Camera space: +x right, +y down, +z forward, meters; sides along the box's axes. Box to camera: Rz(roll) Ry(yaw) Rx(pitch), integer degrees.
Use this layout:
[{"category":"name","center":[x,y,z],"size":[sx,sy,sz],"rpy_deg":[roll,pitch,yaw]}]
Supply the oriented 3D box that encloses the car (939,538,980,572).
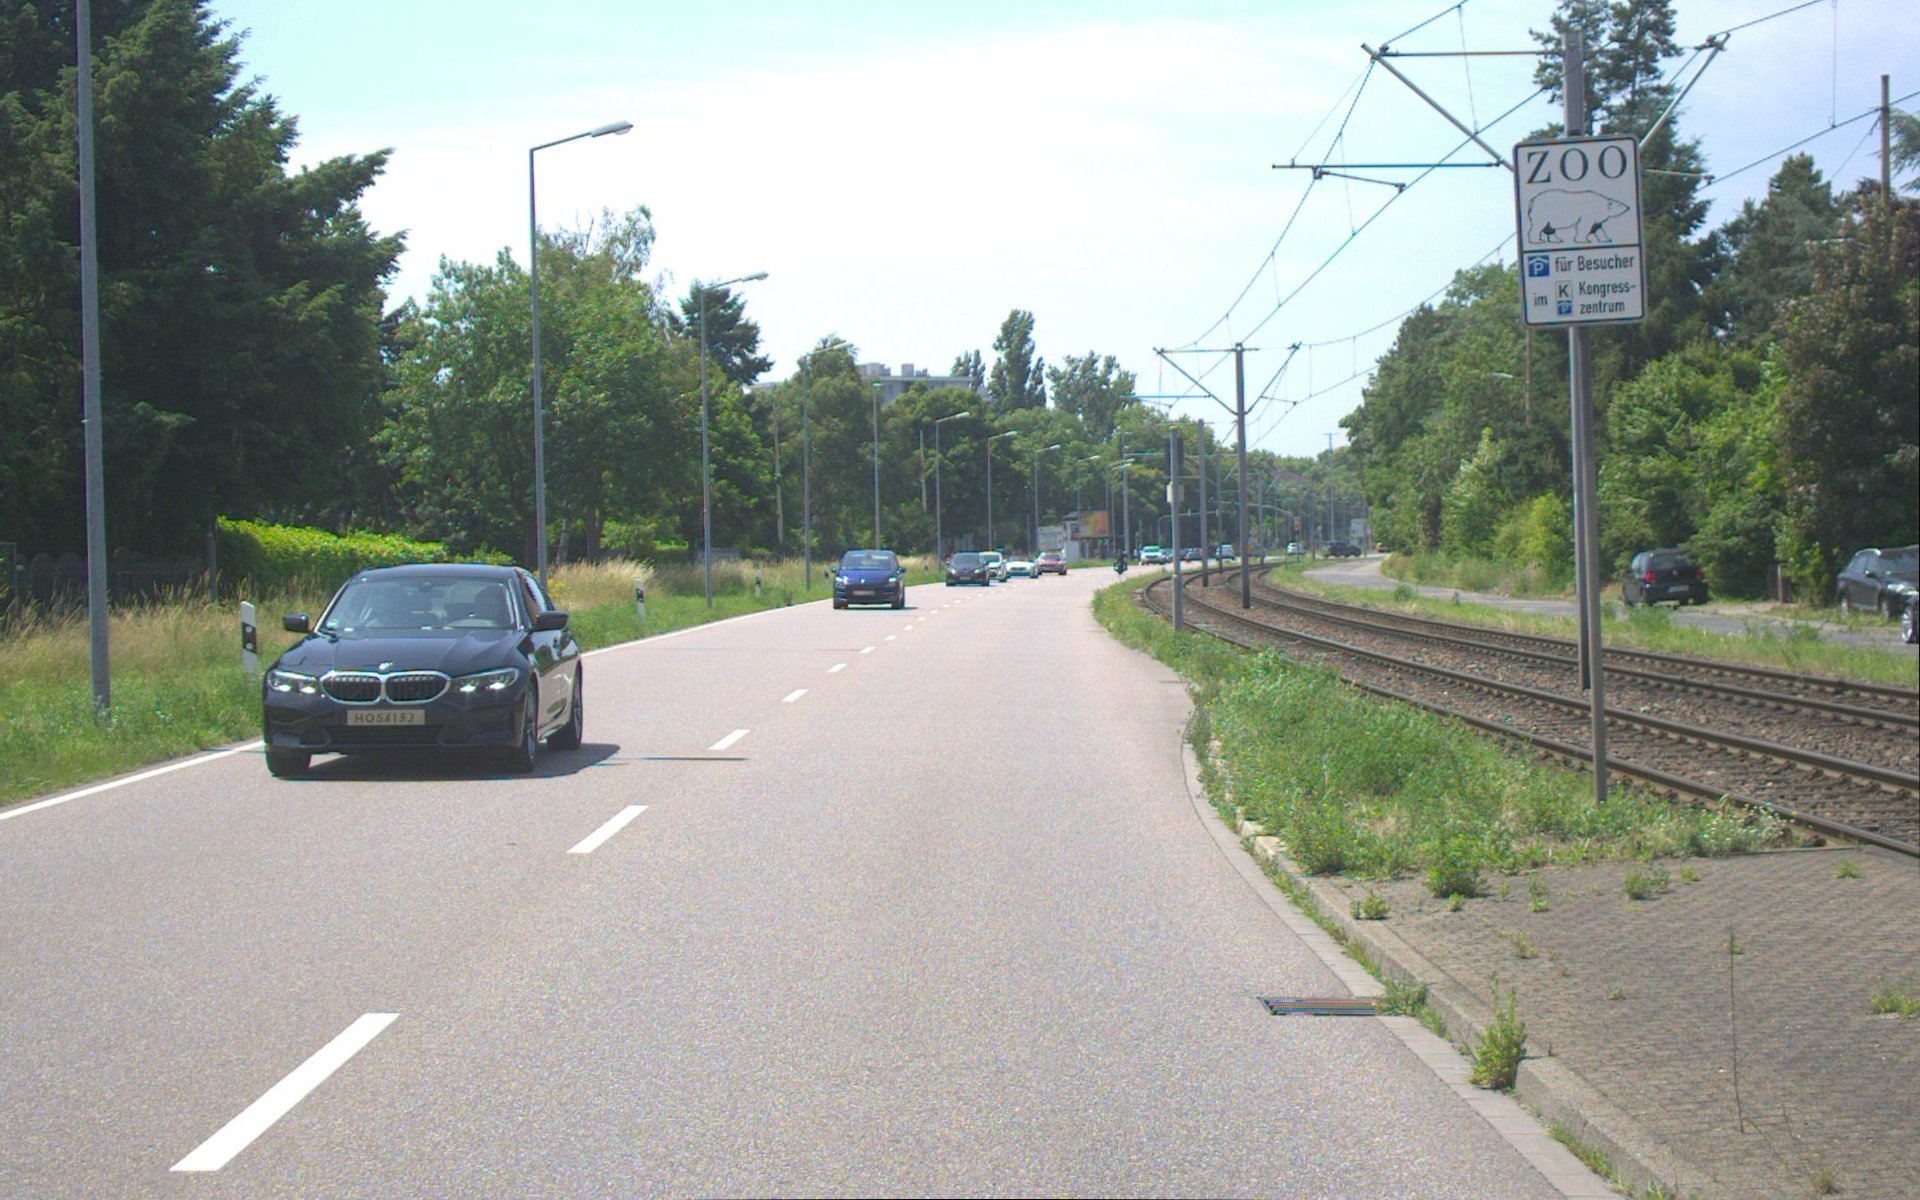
[{"category":"car","center":[-0.006,-2.008,153.801],"size":[1.700,1.486,4.440],"rpy_deg":[0,1,2]}]

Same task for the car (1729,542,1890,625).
[{"category":"car","center":[16.518,-0.341,67.058],"size":[1.934,1.555,4.556],"rpy_deg":[0,1,-1]}]

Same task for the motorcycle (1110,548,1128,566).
[{"category":"motorcycle","center":[10.012,-2.702,215.775],"size":[0.970,1.113,2.732],"rpy_deg":[0,1,6]}]

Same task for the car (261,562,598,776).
[{"category":"car","center":[-3.738,0.428,24.979],"size":[1.706,1.400,4.707],"rpy_deg":[0,1,0]}]

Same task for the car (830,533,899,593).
[{"category":"car","center":[-2.616,-1.031,95.107],"size":[1.747,1.626,4.030],"rpy_deg":[0,1,1]}]

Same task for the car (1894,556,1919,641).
[{"category":"car","center":[15.962,-0.008,52.983],"size":[1.861,1.325,4.515],"rpy_deg":[0,1,-1]}]

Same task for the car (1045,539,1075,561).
[{"category":"car","center":[6.090,-3.035,208.766],"size":[1.749,1.296,4.253],"rpy_deg":[0,1,2]}]

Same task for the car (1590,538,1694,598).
[{"category":"car","center":[17.033,-0.814,86.035],"size":[1.914,1.465,4.000],"rpy_deg":[0,1,2]}]

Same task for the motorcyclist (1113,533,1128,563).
[{"category":"motorcyclist","center":[10.059,-3.281,215.845],"size":[0.892,1.898,1.015],"rpy_deg":[0,1,6]}]
